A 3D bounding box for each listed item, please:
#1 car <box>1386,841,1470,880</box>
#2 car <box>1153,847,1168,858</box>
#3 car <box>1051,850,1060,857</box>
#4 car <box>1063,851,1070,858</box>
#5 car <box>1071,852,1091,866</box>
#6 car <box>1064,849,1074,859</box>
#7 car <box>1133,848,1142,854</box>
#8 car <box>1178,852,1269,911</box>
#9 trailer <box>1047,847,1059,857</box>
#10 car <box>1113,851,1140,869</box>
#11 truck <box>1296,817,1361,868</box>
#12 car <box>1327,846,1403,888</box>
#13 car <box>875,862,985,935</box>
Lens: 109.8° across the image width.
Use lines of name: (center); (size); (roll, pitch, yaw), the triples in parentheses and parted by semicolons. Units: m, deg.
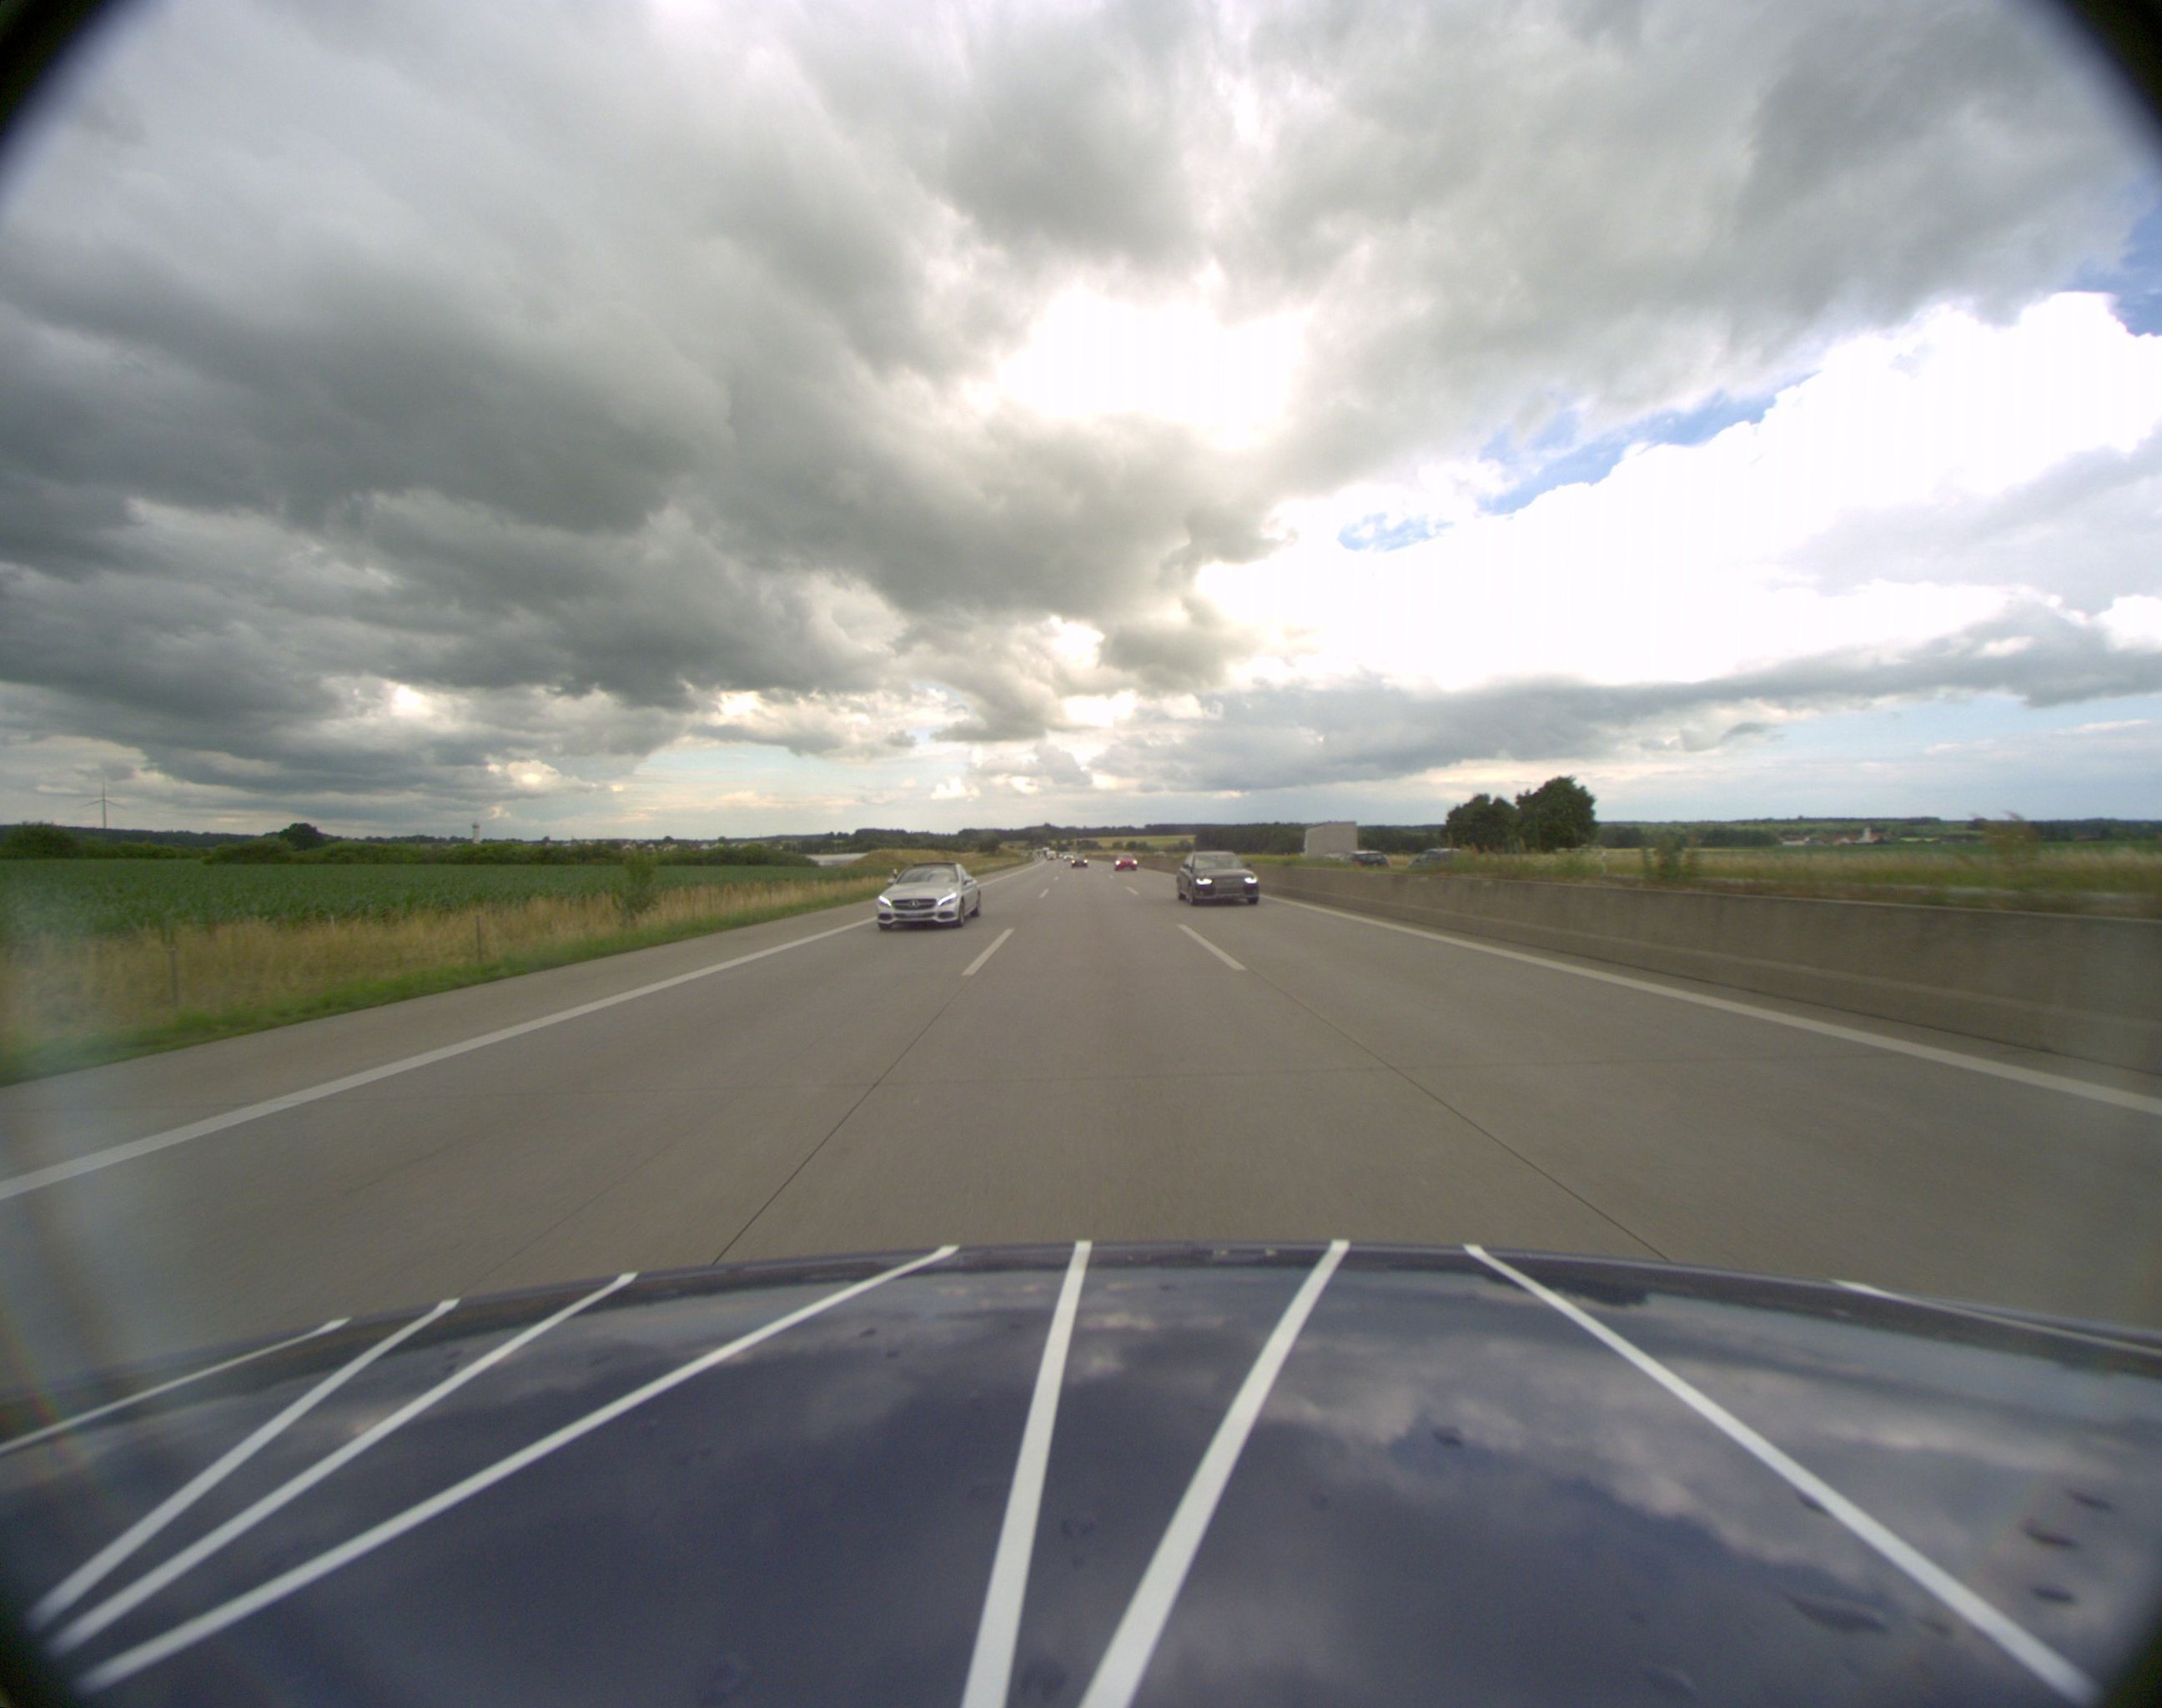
car: (15.970, 0.253, 35.189); (1.998, 1.603, 4.114); (-2, 1, 1)
car: (12.674, -0.202, 121.891); (1.929, 1.626, 3.999); (-2, 1, 0)
car: (-6.947, -0.125, 203.217); (1.945, 1.799, 5.028); (-2, 1, -7)
car: (-4.542, 0.091, 235.917); (1.811, 2.002, 3.840); (-3, 1, -6)
car: (-0.077, 0.515, 83.481); (1.692, 1.405, 3.997); (-2, 1, -7)
car: (-2.551, 0.004, 160.488); (1.999, 2.002, 3.999); (-2, 0, -3)
car: (15.792, -0.762, 211.611); (1.902, 1.462, 4.848); (-2, 1, -1)
car: (3.974, 0.710, 21.830); (1.939, 1.464, 4.000); (-2, 0, 2)
trailer: (-7.716, -0.529, 209.044); (2.616, 2.519, 6.716); (-2, 1, -7)
car: (3.808, 0.511, 63.924); (1.822, 1.364, 3.781); (-3, 1, -3)
truck: (17.511, -0.835, 54.216); (2.363, 3.309, 7.295); (-2, 1, 1)
car: (12.185, 0.505, 32.857); (1.756, 1.603, 4.114); (-2, 1, 1)
car: (-3.415, 0.954, 17.988); (1.793, 1.395, 4.220); (-2, 1, -1)
